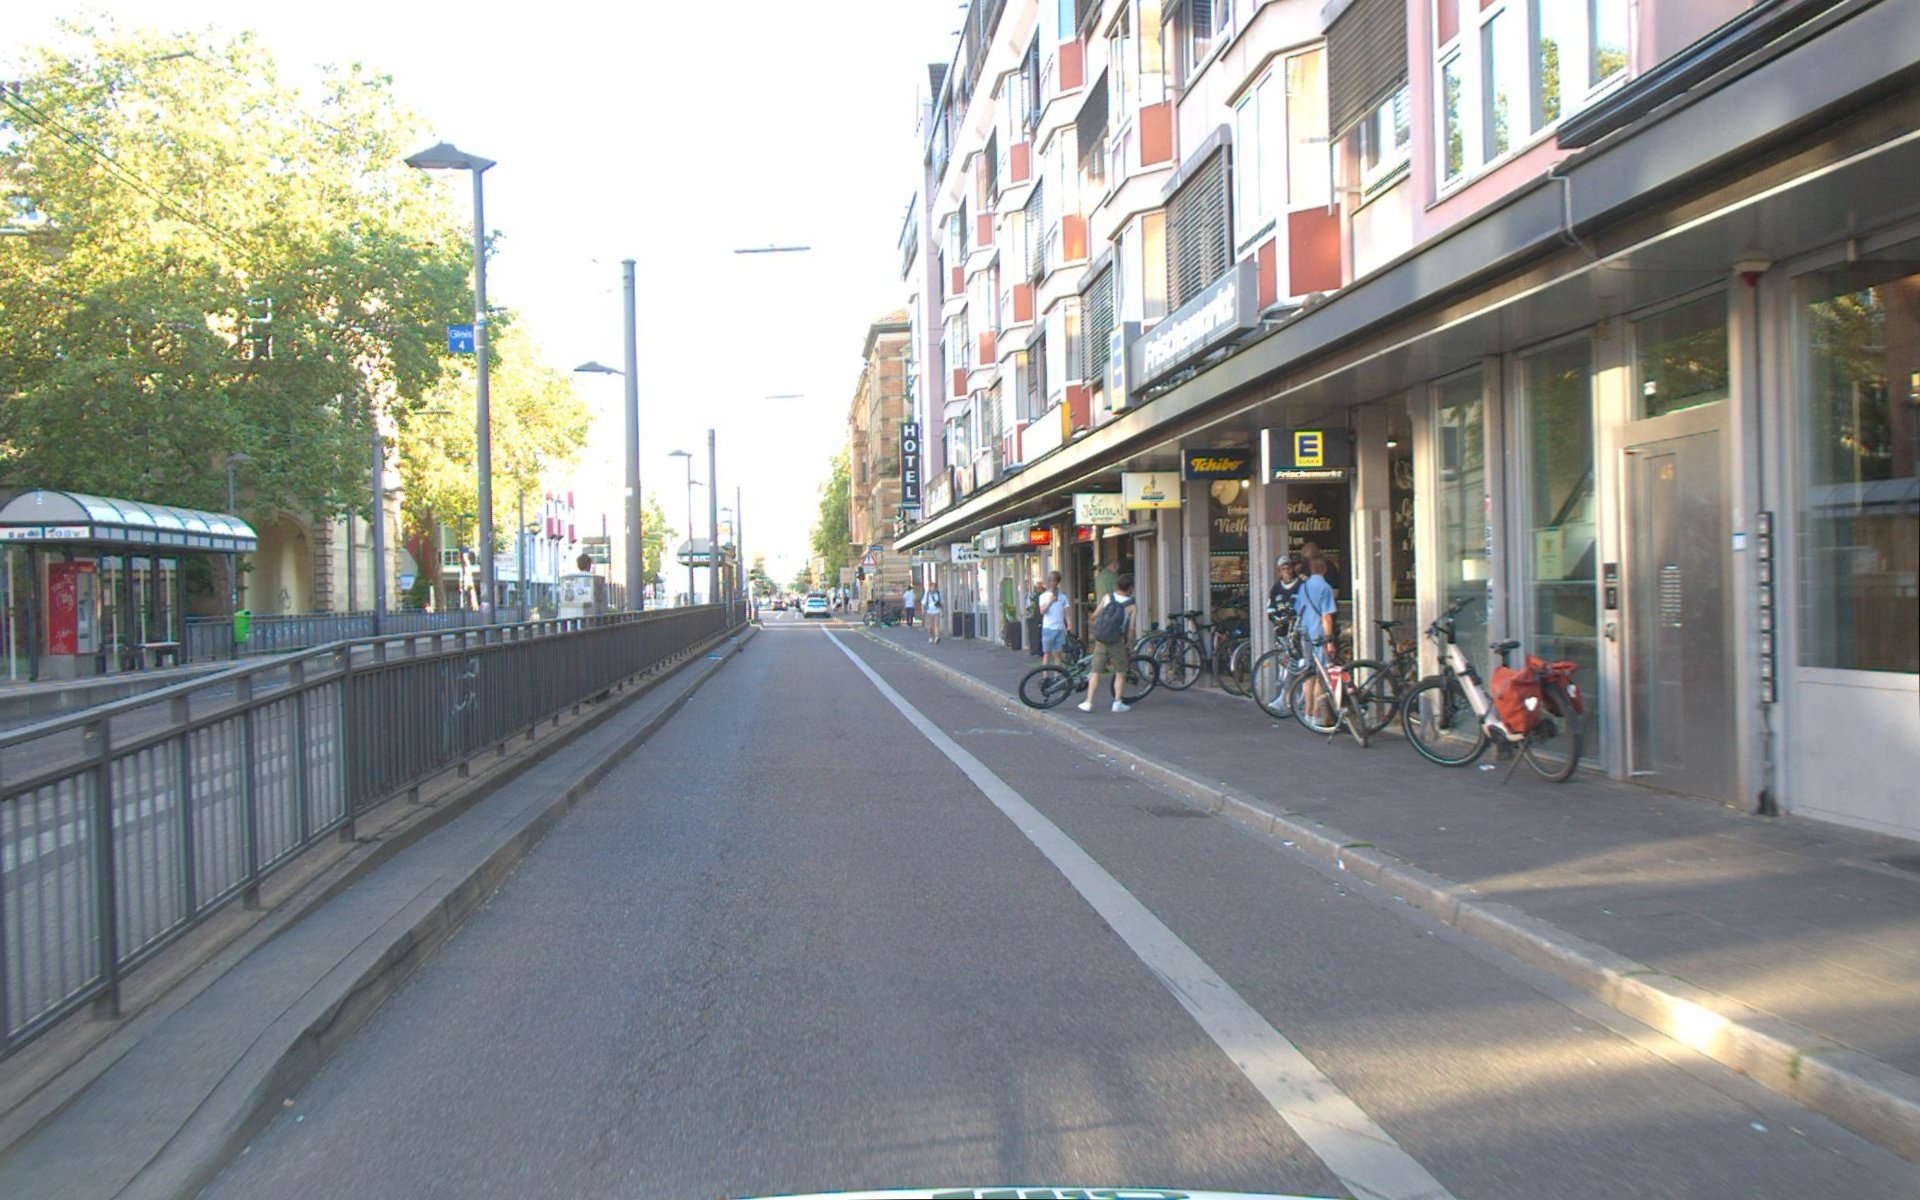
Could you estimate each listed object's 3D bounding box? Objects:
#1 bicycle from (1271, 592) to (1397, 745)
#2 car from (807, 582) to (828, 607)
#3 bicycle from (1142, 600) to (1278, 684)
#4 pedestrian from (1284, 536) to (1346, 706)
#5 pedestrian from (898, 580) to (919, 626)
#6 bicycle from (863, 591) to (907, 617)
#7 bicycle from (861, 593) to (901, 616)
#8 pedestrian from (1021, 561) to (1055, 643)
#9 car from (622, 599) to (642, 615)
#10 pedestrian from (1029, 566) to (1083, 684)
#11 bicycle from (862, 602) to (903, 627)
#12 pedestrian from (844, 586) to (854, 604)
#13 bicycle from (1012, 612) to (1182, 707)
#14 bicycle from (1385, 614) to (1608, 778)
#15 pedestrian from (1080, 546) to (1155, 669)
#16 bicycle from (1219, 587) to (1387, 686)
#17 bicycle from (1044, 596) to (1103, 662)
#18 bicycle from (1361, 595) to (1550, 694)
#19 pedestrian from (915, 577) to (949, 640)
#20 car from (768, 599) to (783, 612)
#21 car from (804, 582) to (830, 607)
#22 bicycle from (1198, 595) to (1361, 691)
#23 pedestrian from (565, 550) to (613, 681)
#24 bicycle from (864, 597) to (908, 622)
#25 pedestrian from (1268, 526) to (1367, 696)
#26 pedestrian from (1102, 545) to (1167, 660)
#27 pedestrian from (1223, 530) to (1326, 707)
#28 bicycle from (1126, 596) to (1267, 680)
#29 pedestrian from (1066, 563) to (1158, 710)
[{"bbox_3d":[3.267,0.566,14.577,0.782,1.196,1.634,-5,0,5],"label":"bicycle"},{"bbox_3d":[-12.697,-0.449,147.437,1.671,2.157,3.704,-1,0,-3],"label":"car"},{"bbox_3d":[3.383,0.567,22.432,1.696,0.990,0.506,-4,0,-2],"label":"bicycle"},{"bbox_3d":[3.487,0.200,16.238,0.398,1.622,0.461,-5,0,22],"label":"pedestrian"},{"bbox_3d":[-2.153,0.128,69.208,0.797,1.917,0.776,2,-1,-5],"label":"pedestrian"},{"bbox_3d":[-3.442,0.193,75.557,1.934,1.124,0.613,-2,0,-9],"label":"bicycle"},{"bbox_3d":[-3.715,0.208,77.943,1.800,1.072,0.709,-1,0,-9],"label":"bicycle"},{"bbox_3d":[1.645,0.042,34.889,0.532,1.702,0.467,-3,0,-15],"label":"pedestrian"},{"bbox_3d":[-35.718,0.745,180.135,1.835,1.628,4.246,-1,0,-9],"label":"car"},{"bbox_3d":[1.427,0.366,24.683,0.620,1.702,0.770,-3,0,-6],"label":"pedestrian"},{"bbox_3d":[-3.558,0.668,76.275,1.800,1.072,0.716,-1,0,-9],"label":"bicycle"},{"bbox_3d":[-9.923,-0.441,147.605,0.761,1.594,0.913,-5,0,-5],"label":"pedestrian"},{"bbox_3d":[1.703,0.733,20.700,1.982,0.990,0.658,-4,1,-4],"label":"bicycle"},{"bbox_3d":[3.759,0.634,11.769,0.664,0.993,1.839,-6,1,-9],"label":"bicycle"},{"bbox_3d":[2.562,0.119,26.992,0.898,1.898,0.778,-5,0,-9],"label":"pedestrian"},{"bbox_3d":[4.176,0.434,20.164,1.889,1.078,0.575,-3,0,-9],"label":"bicycle"},{"bbox_3d":[2.021,0.503,29.764,0.645,1.085,1.792,-6,1,-7],"label":"bicycle"},{"bbox_3d":[5.424,0.473,18.126,1.889,0.954,0.575,-3,0,-9],"label":"bicycle"},{"bbox_3d":[-0.811,0.242,47.928,0.782,1.752,1.060,-4,0,-5],"label":"pedestrian"},{"bbox_3d":[-25.920,0.816,232.543,2.002,1.703,4.869,0,1,-6],"label":"car"},{"bbox_3d":[-10.775,-0.402,124.851,1.928,1.802,4.870,0,0,-5],"label":"car"},{"bbox_3d":[4.014,0.531,20.806,1.889,1.078,0.575,-3,0,-9],"label":"bicycle"},{"bbox_3d":[-5.255,0.218,23.429,0.572,1.823,0.605,-1,0,-8],"label":"pedestrian"},{"bbox_3d":[-3.352,0.441,74.907,1.878,1.066,0.680,-1,0,-9],"label":"bicycle"},{"bbox_3d":[4.008,0.116,18.532,0.727,1.848,0.794,-1,0,-43],"label":"pedestrian"},{"bbox_3d":[2.969,0.047,28.147,0.767,1.899,0.681,-3,0,-26],"label":"pedestrian"},{"bbox_3d":[3.397,0.188,17.876,0.727,1.848,0.794,-1,0,-43],"label":"pedestrian"},{"bbox_3d":[3.405,0.538,23.885,1.887,1.078,0.575,-3,0,-7],"label":"bicycle"},{"bbox_3d":[1.833,0.432,20.078,0.764,1.692,0.914,-3,0,-14],"label":"pedestrian"}]
